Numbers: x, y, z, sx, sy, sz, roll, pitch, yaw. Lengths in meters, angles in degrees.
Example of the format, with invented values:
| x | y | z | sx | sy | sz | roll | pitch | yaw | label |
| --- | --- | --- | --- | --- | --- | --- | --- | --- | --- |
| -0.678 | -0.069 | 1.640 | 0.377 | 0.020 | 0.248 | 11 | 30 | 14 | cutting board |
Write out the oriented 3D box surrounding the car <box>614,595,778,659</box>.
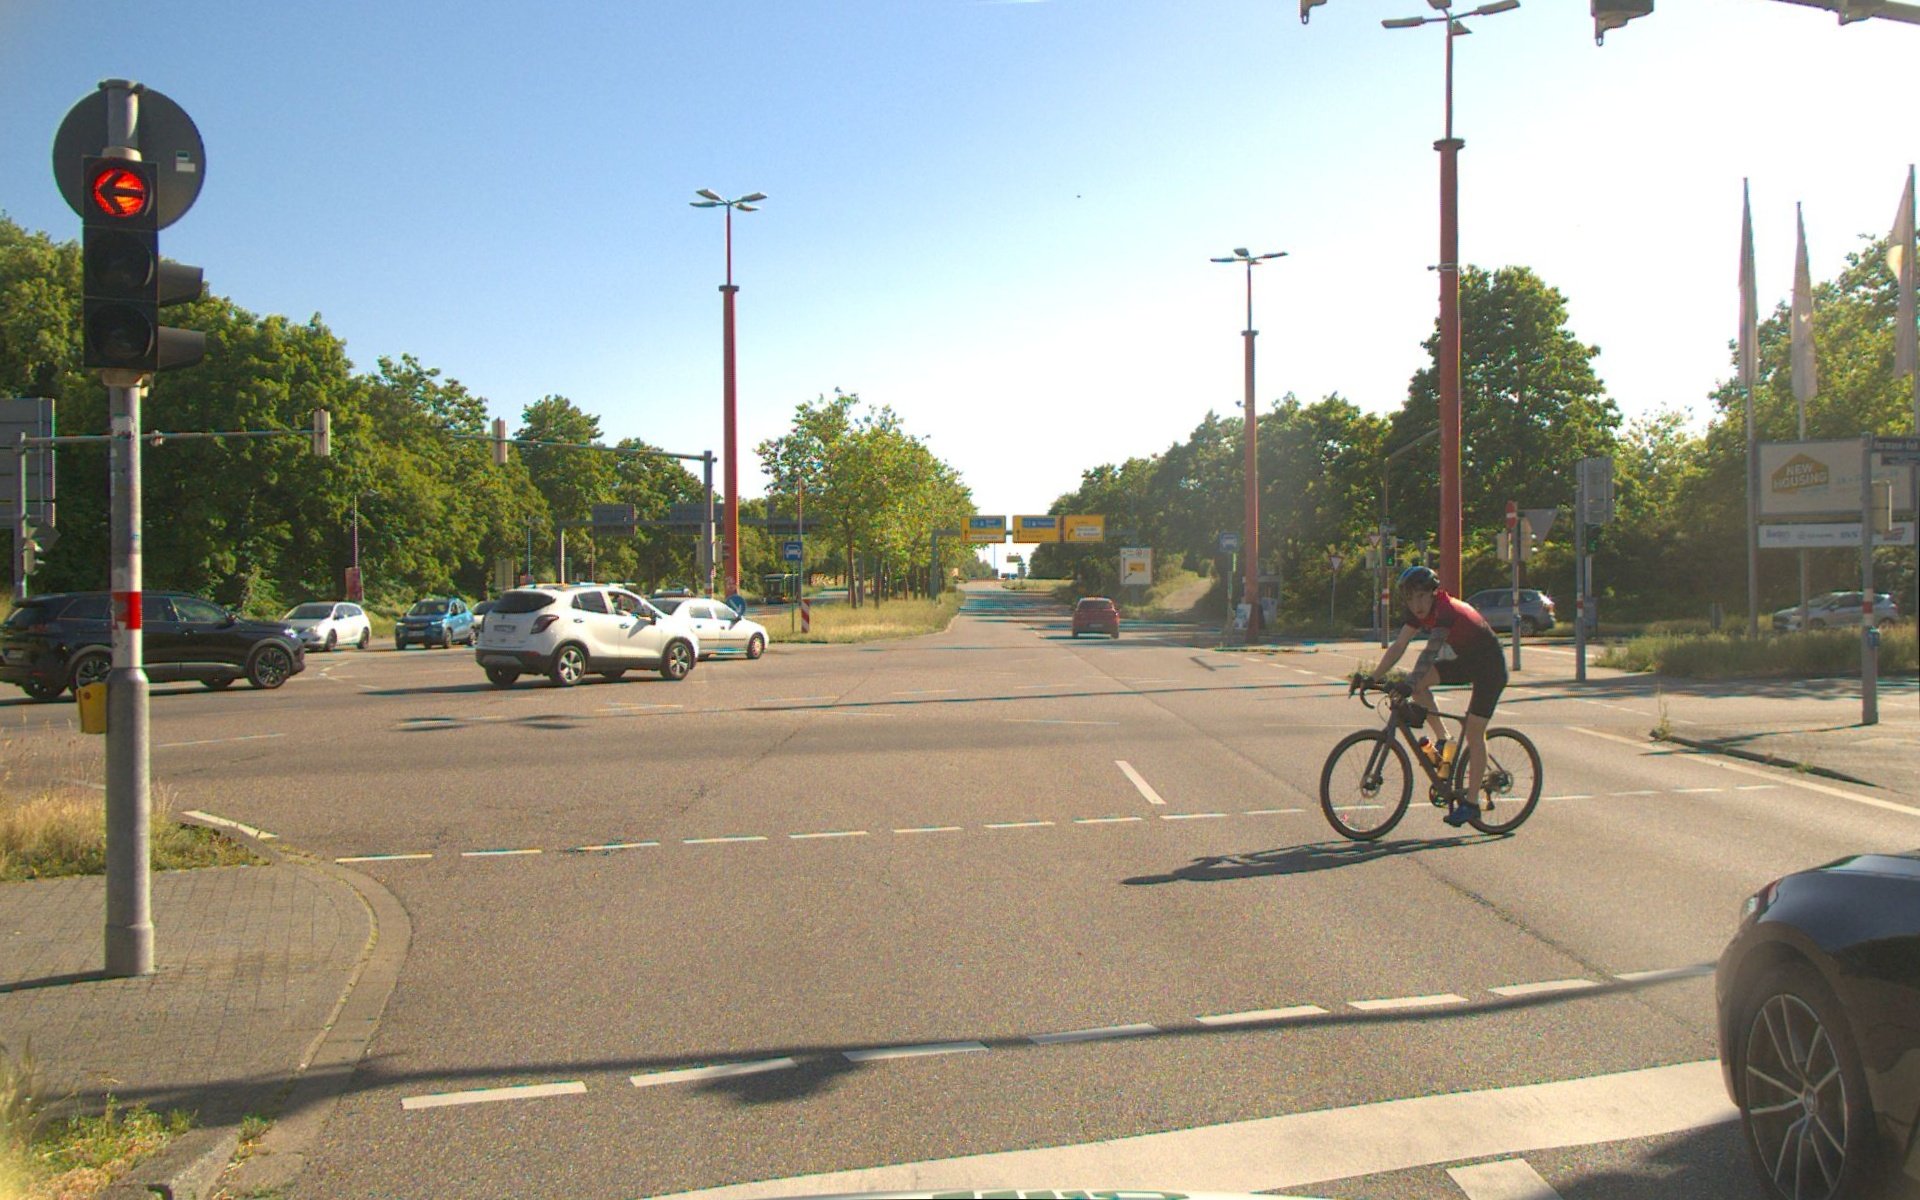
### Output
| x | y | z | sx | sy | sz | roll | pitch | yaw | label |
| --- | --- | --- | --- | --- | --- | --- | --- | --- | --- |
| -5.897 | 0.607 | 37.369 | 1.456 | 1.369 | 3.990 | 0 | -1 | 31 | car |

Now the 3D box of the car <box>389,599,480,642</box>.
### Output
| x | y | z | sx | sy | sz | roll | pitch | yaw | label |
| --- | --- | --- | --- | --- | --- | --- | --- | --- | --- |
| -16.053 | 0.610 | 50.682 | 1.704 | 1.265 | 3.611 | 0 | 0 | -2 | car |

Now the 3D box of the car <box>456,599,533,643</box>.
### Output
| x | y | z | sx | sy | sz | roll | pitch | yaw | label |
| --- | --- | --- | --- | --- | --- | --- | --- | --- | --- |
| -15.929 | 0.699 | 56.800 | 1.704 | 1.436 | 3.611 | 0 | 0 | -2 | car |

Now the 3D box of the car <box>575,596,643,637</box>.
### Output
| x | y | z | sx | sy | sz | roll | pitch | yaw | label |
| --- | --- | --- | --- | --- | --- | --- | --- | --- | --- |
| -12.278 | 0.551 | 58.081 | 1.704 | 1.386 | 3.611 | 0 | 0 | -2 | car |

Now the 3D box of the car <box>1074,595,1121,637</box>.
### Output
| x | y | z | sx | sy | sz | roll | pitch | yaw | label |
| --- | --- | --- | --- | --- | --- | --- | --- | --- | --- |
| 5.129 | 0.571 | 61.361 | 1.644 | 1.460 | 4.068 | 0 | 0 | 6 | car |

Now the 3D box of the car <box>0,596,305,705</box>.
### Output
| x | y | z | sx | sy | sz | roll | pitch | yaw | label |
| --- | --- | --- | --- | --- | --- | --- | --- | --- | --- |
| -12.894 | 0.739 | 26.380 | 1.823 | 1.572 | 4.241 | 0 | 0 | 39 | car |

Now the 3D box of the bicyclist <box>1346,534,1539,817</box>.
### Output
| x | y | z | sx | sy | sz | roll | pitch | yaw | label |
| --- | --- | --- | --- | --- | --- | --- | --- | --- | --- |
| 3.168 | 0.468 | 10.884 | 0.980 | 1.772 | 0.731 | 0 | 0 | -22 | bicyclist |

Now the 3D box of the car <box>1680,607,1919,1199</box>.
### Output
| x | y | z | sx | sy | sz | roll | pitch | yaw | label |
| --- | --- | --- | --- | --- | --- | --- | --- | --- | --- |
| 2.904 | 0.735 | 2.366 | 1.831 | 1.422 | 4.443 | 0 | 0 | 0 | car |

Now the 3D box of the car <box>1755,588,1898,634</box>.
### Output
| x | y | z | sx | sy | sz | roll | pitch | yaw | label |
| --- | --- | --- | --- | --- | --- | --- | --- | --- | --- |
| 28.897 | 0.364 | 55.241 | 3.898 | 1.493 | 1.685 | 0 | 0 | 3 | car |

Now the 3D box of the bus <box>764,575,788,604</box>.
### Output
| x | y | z | sx | sy | sz | roll | pitch | yaw | label |
| --- | --- | --- | --- | --- | --- | --- | --- | --- | --- |
| -20.910 | -1.172 | 188.428 | 2.443 | 3.295 | 9.990 | 0 | 0 | -5 | bus |

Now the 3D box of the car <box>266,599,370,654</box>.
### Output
| x | y | z | sx | sy | sz | roll | pitch | yaw | label |
| --- | --- | --- | --- | --- | --- | --- | --- | --- | --- |
| -19.476 | 0.774 | 50.321 | 1.725 | 1.559 | 3.934 | 0 | 0 | -2 | car |

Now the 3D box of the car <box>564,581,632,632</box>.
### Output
| x | y | z | sx | sy | sz | roll | pitch | yaw | label |
| --- | --- | --- | --- | --- | --- | --- | --- | --- | --- |
| -15.447 | 0.272 | 70.840 | 1.855 | 2.061 | 5.221 | 1 | 0 | -2 | car |

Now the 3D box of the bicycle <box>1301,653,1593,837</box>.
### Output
| x | y | z | sx | sy | sz | roll | pitch | yaw | label |
| --- | --- | --- | --- | --- | --- | --- | --- | --- | --- |
| 3.208 | 0.915 | 10.888 | 1.801 | 1.076 | 0.717 | 0 | 0 | -23 | bicycle |

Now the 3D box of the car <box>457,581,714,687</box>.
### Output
| x | y | z | sx | sy | sz | roll | pitch | yaw | label |
| --- | --- | --- | --- | --- | --- | --- | --- | --- | --- |
| -6.288 | 0.520 | 28.200 | 1.791 | 1.665 | 4.240 | 0 | 0 | 34 | car |

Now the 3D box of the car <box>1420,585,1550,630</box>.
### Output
| x | y | z | sx | sy | sz | roll | pitch | yaw | label |
| --- | --- | --- | --- | --- | --- | --- | --- | --- | --- |
| 18.159 | 0.253 | 57.362 | 4.224 | 1.511 | 1.786 | 0 | 0 | 17 | car |
